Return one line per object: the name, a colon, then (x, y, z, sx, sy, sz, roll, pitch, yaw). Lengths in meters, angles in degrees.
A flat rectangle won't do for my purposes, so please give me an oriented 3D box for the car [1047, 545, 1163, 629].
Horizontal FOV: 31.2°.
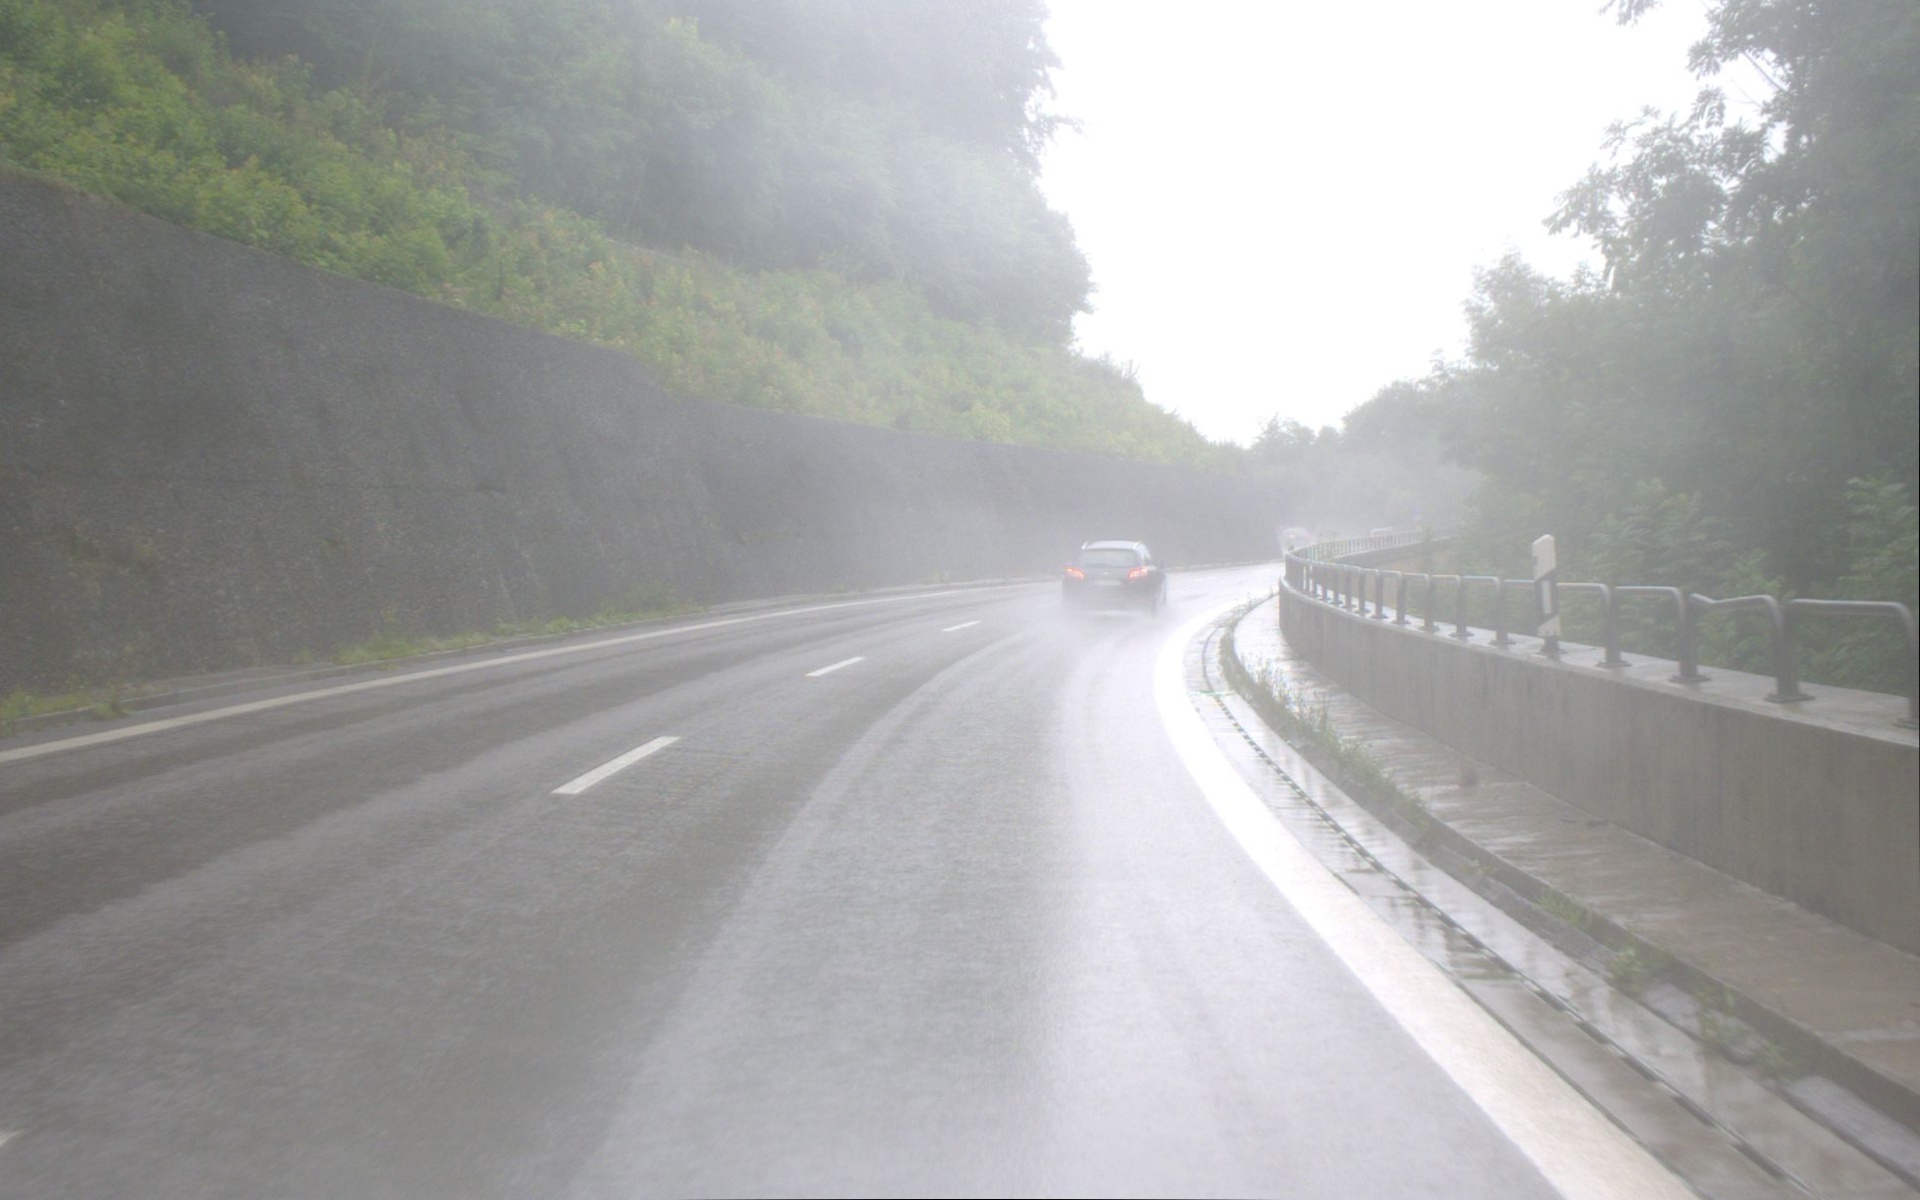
car: (2.811, -0.271, 65.911, 1.904, 1.494, 3.999, -1, 1, 7)
